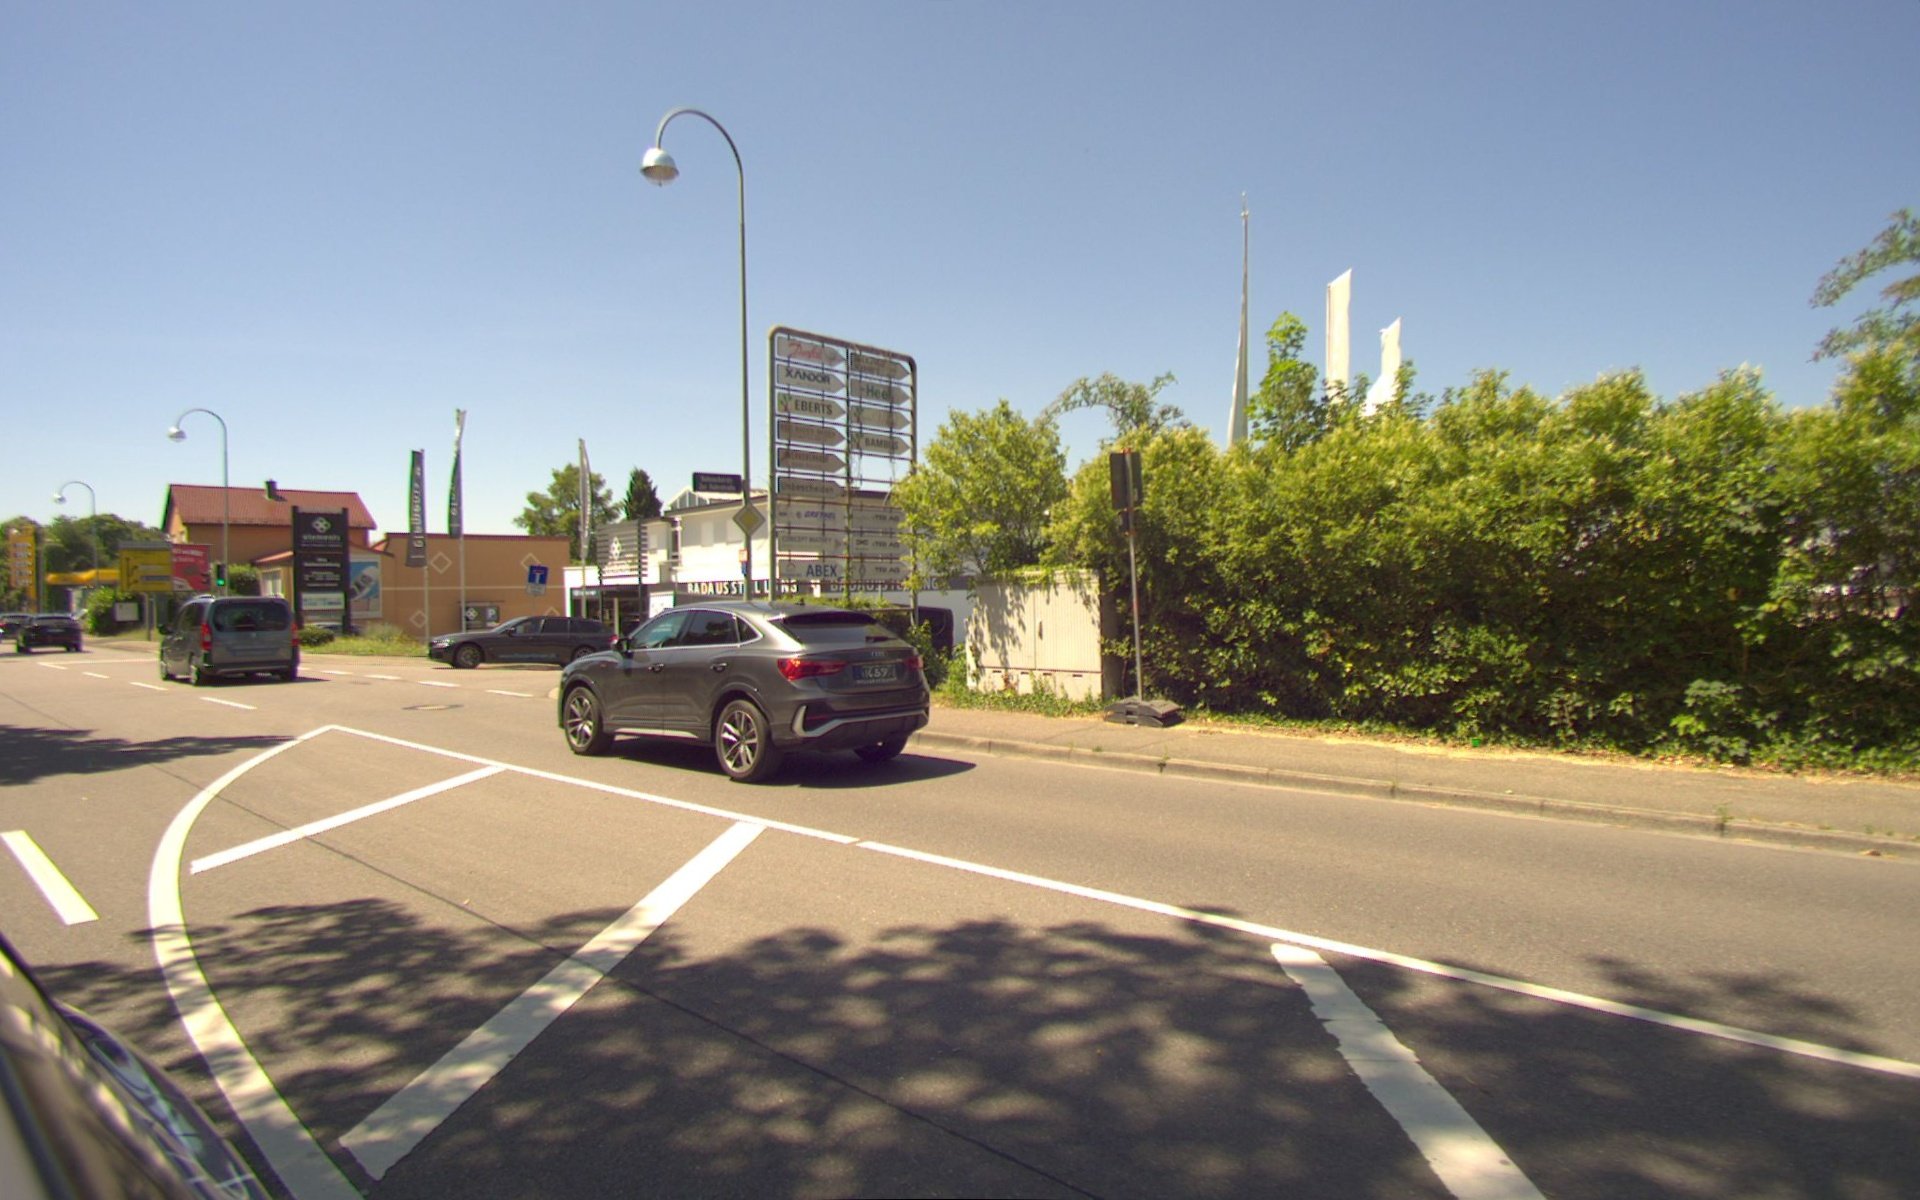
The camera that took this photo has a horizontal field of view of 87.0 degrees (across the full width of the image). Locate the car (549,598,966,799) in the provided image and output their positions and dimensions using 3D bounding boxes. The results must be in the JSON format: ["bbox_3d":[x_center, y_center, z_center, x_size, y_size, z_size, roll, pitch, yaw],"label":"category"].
[{"bbox_3d":[-2.146,0.786,9.916,4.314,1.548,1.775,-1,0,42],"label":"car"}]

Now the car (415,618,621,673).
[{"bbox_3d":[-12.140,1.284,27.933,4.888,1.398,1.922,3,-3,-35],"label":"car"}]

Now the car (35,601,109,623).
[{"bbox_3d":[-73.636,0.971,83.938,1.873,1.773,4.347,-1,-1,38],"label":"car"}]

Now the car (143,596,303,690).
[{"bbox_3d":[-15.827,0.876,21.637,4.567,1.775,1.792,-2,0,41],"label":"car"}]

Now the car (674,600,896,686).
[{"bbox_3d":[-3.498,0.795,20.609,4.081,1.516,1.781,-1,0,-37],"label":"car"}]

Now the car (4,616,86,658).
[{"bbox_3d":[-35.779,1.416,39.539,4.050,1.518,1.850,-1,-1,40],"label":"car"}]

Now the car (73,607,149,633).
[{"bbox_3d":[-64.650,1.525,77.134,1.873,1.883,4.139,-1,-1,38],"label":"car"}]

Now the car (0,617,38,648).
[{"bbox_3d":[-50.447,1.692,53.852,1.902,1.567,4.309,0,-1,-40],"label":"car"}]

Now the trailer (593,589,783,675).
[{"bbox_3d":[-8.260,1.023,31.086,5.286,2.424,1.942,3,-3,-43],"label":"trailer"}]

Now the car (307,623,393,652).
[{"bbox_3d":[-36.192,2.198,60.093,4.163,1.621,1.774,0,-1,-39],"label":"car"}]
